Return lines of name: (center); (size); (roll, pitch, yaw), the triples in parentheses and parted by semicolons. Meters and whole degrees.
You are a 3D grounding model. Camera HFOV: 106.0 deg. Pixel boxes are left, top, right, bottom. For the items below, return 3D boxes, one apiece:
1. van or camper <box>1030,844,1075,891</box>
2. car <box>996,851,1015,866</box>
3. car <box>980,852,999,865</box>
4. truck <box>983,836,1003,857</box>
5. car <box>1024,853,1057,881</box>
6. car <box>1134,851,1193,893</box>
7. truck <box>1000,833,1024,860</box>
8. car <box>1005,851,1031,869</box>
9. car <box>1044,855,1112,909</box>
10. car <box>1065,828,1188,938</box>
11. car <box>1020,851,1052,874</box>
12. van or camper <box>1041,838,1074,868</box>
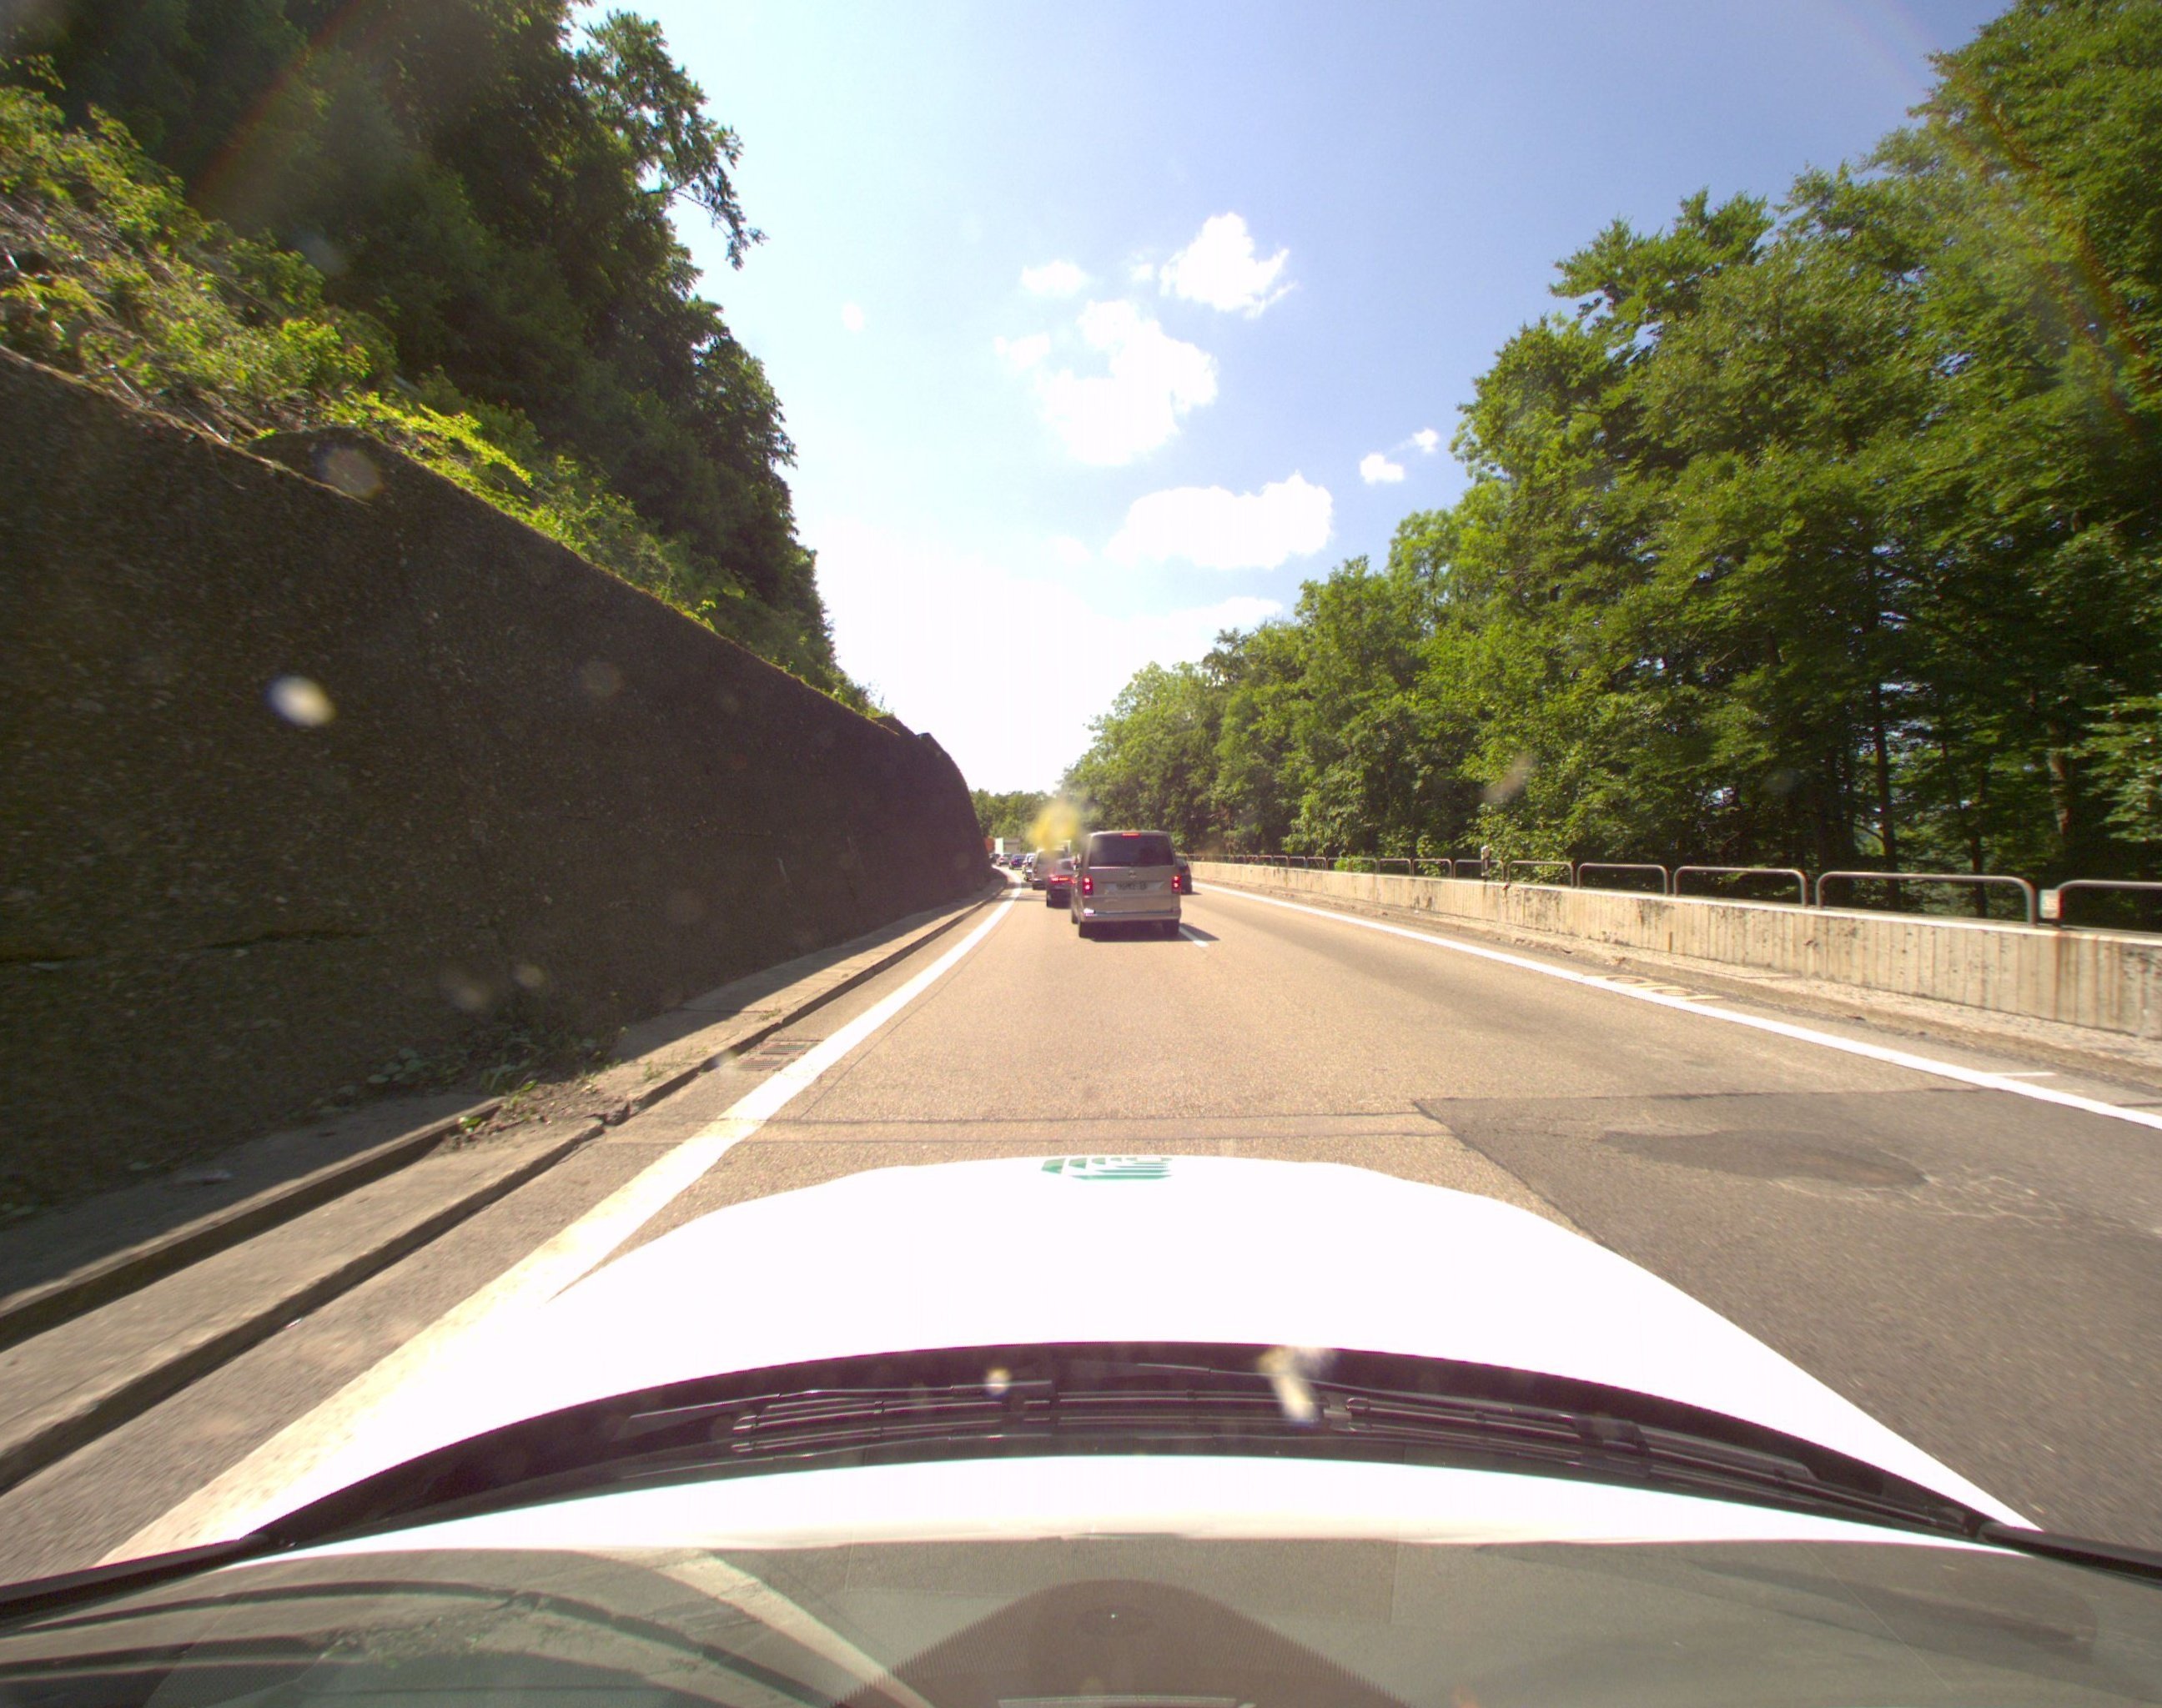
van or camper: (-1.272, 0.571, 36.934); (1.848, 1.942, 4.162); (3, 0, -2)
car: (-8.450, 0.529, 90.605); (1.992, 1.618, 3.990); (0, 0, -7)
car: (-11.489, 0.530, 102.137); (1.754, 1.571, 3.751); (0, 0, -16)
truck: (-15.488, -1.286, 143.529); (3.159, 3.468, 8.205); (3, 0, -6)
car: (-2.333, 0.738, 47.506); (1.767, 1.472, 3.996); (2, 0, -3)
car: (3.035, 0.637, 30.673); (1.680, 1.458, 3.997); (0, 0, -2)
truck: (-10.223, -1.111, 120.737); (2.923, 3.687, 7.703); (4, 0, -8)
car: (-5.914, 0.579, 76.167); (1.859, 1.619, 3.983); (-1, 0, -12)
car: (-0.082, 0.785, 25.029); (1.899, 1.489, 4.378); (0, 0, 0)
car: (0.765, 0.505, 16.690); (1.937, 1.931, 4.687); (0, 0, -4)
car: (-3.391, 0.619, 60.842); (1.895, 1.584, 3.758); (-2, 0, -10)
van or camper: (-2.443, -0.152, 83.107); (2.602, 2.855, 6.318); (-3, 1, -8)
